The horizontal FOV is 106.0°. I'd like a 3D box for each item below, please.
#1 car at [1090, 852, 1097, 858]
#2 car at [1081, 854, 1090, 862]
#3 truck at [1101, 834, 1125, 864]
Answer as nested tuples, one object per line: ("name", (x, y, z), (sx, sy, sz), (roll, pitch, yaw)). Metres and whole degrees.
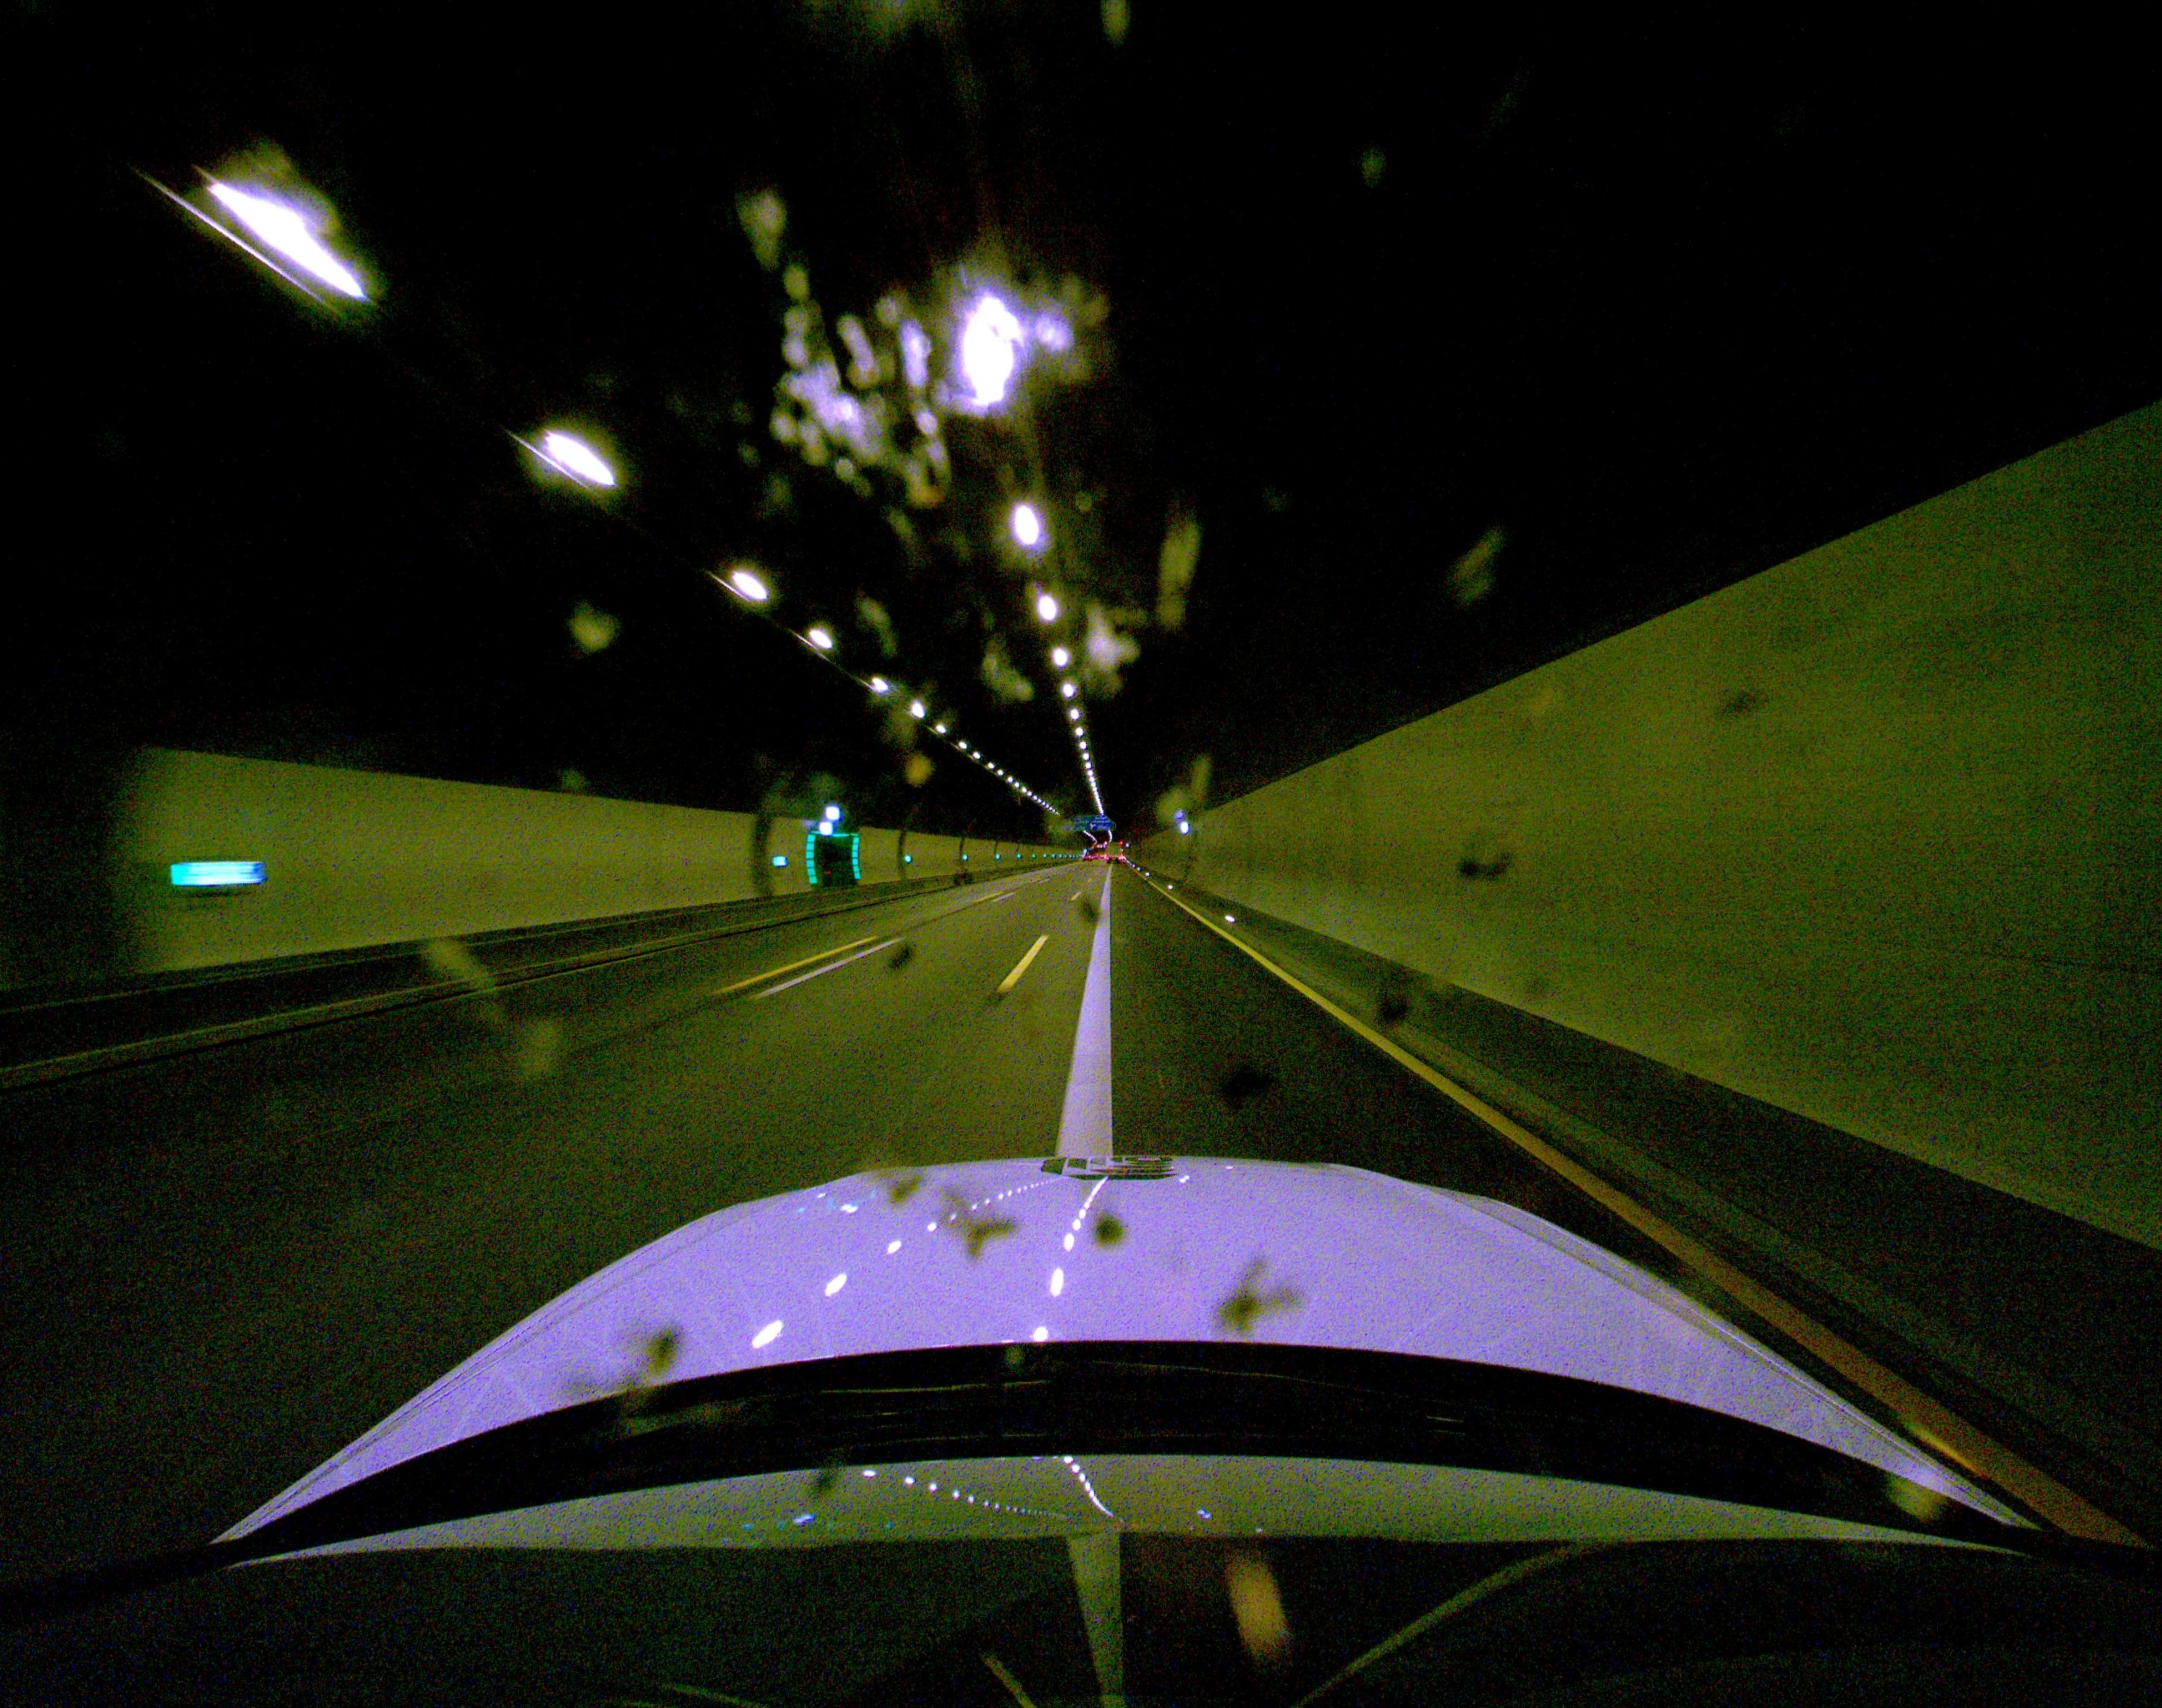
("car", (3.419, 0.175, 222.192), (1.807, 1.520, 3.998), (-1, 2, -1))
("car", (0.927, 0.792, 165.393), (1.807, 1.618, 3.999), (-1, 0, 0))
("truck", (5.290, -0.772, 137.965), (3.267, 4.650, 17.287), (-2, 0, 1))
